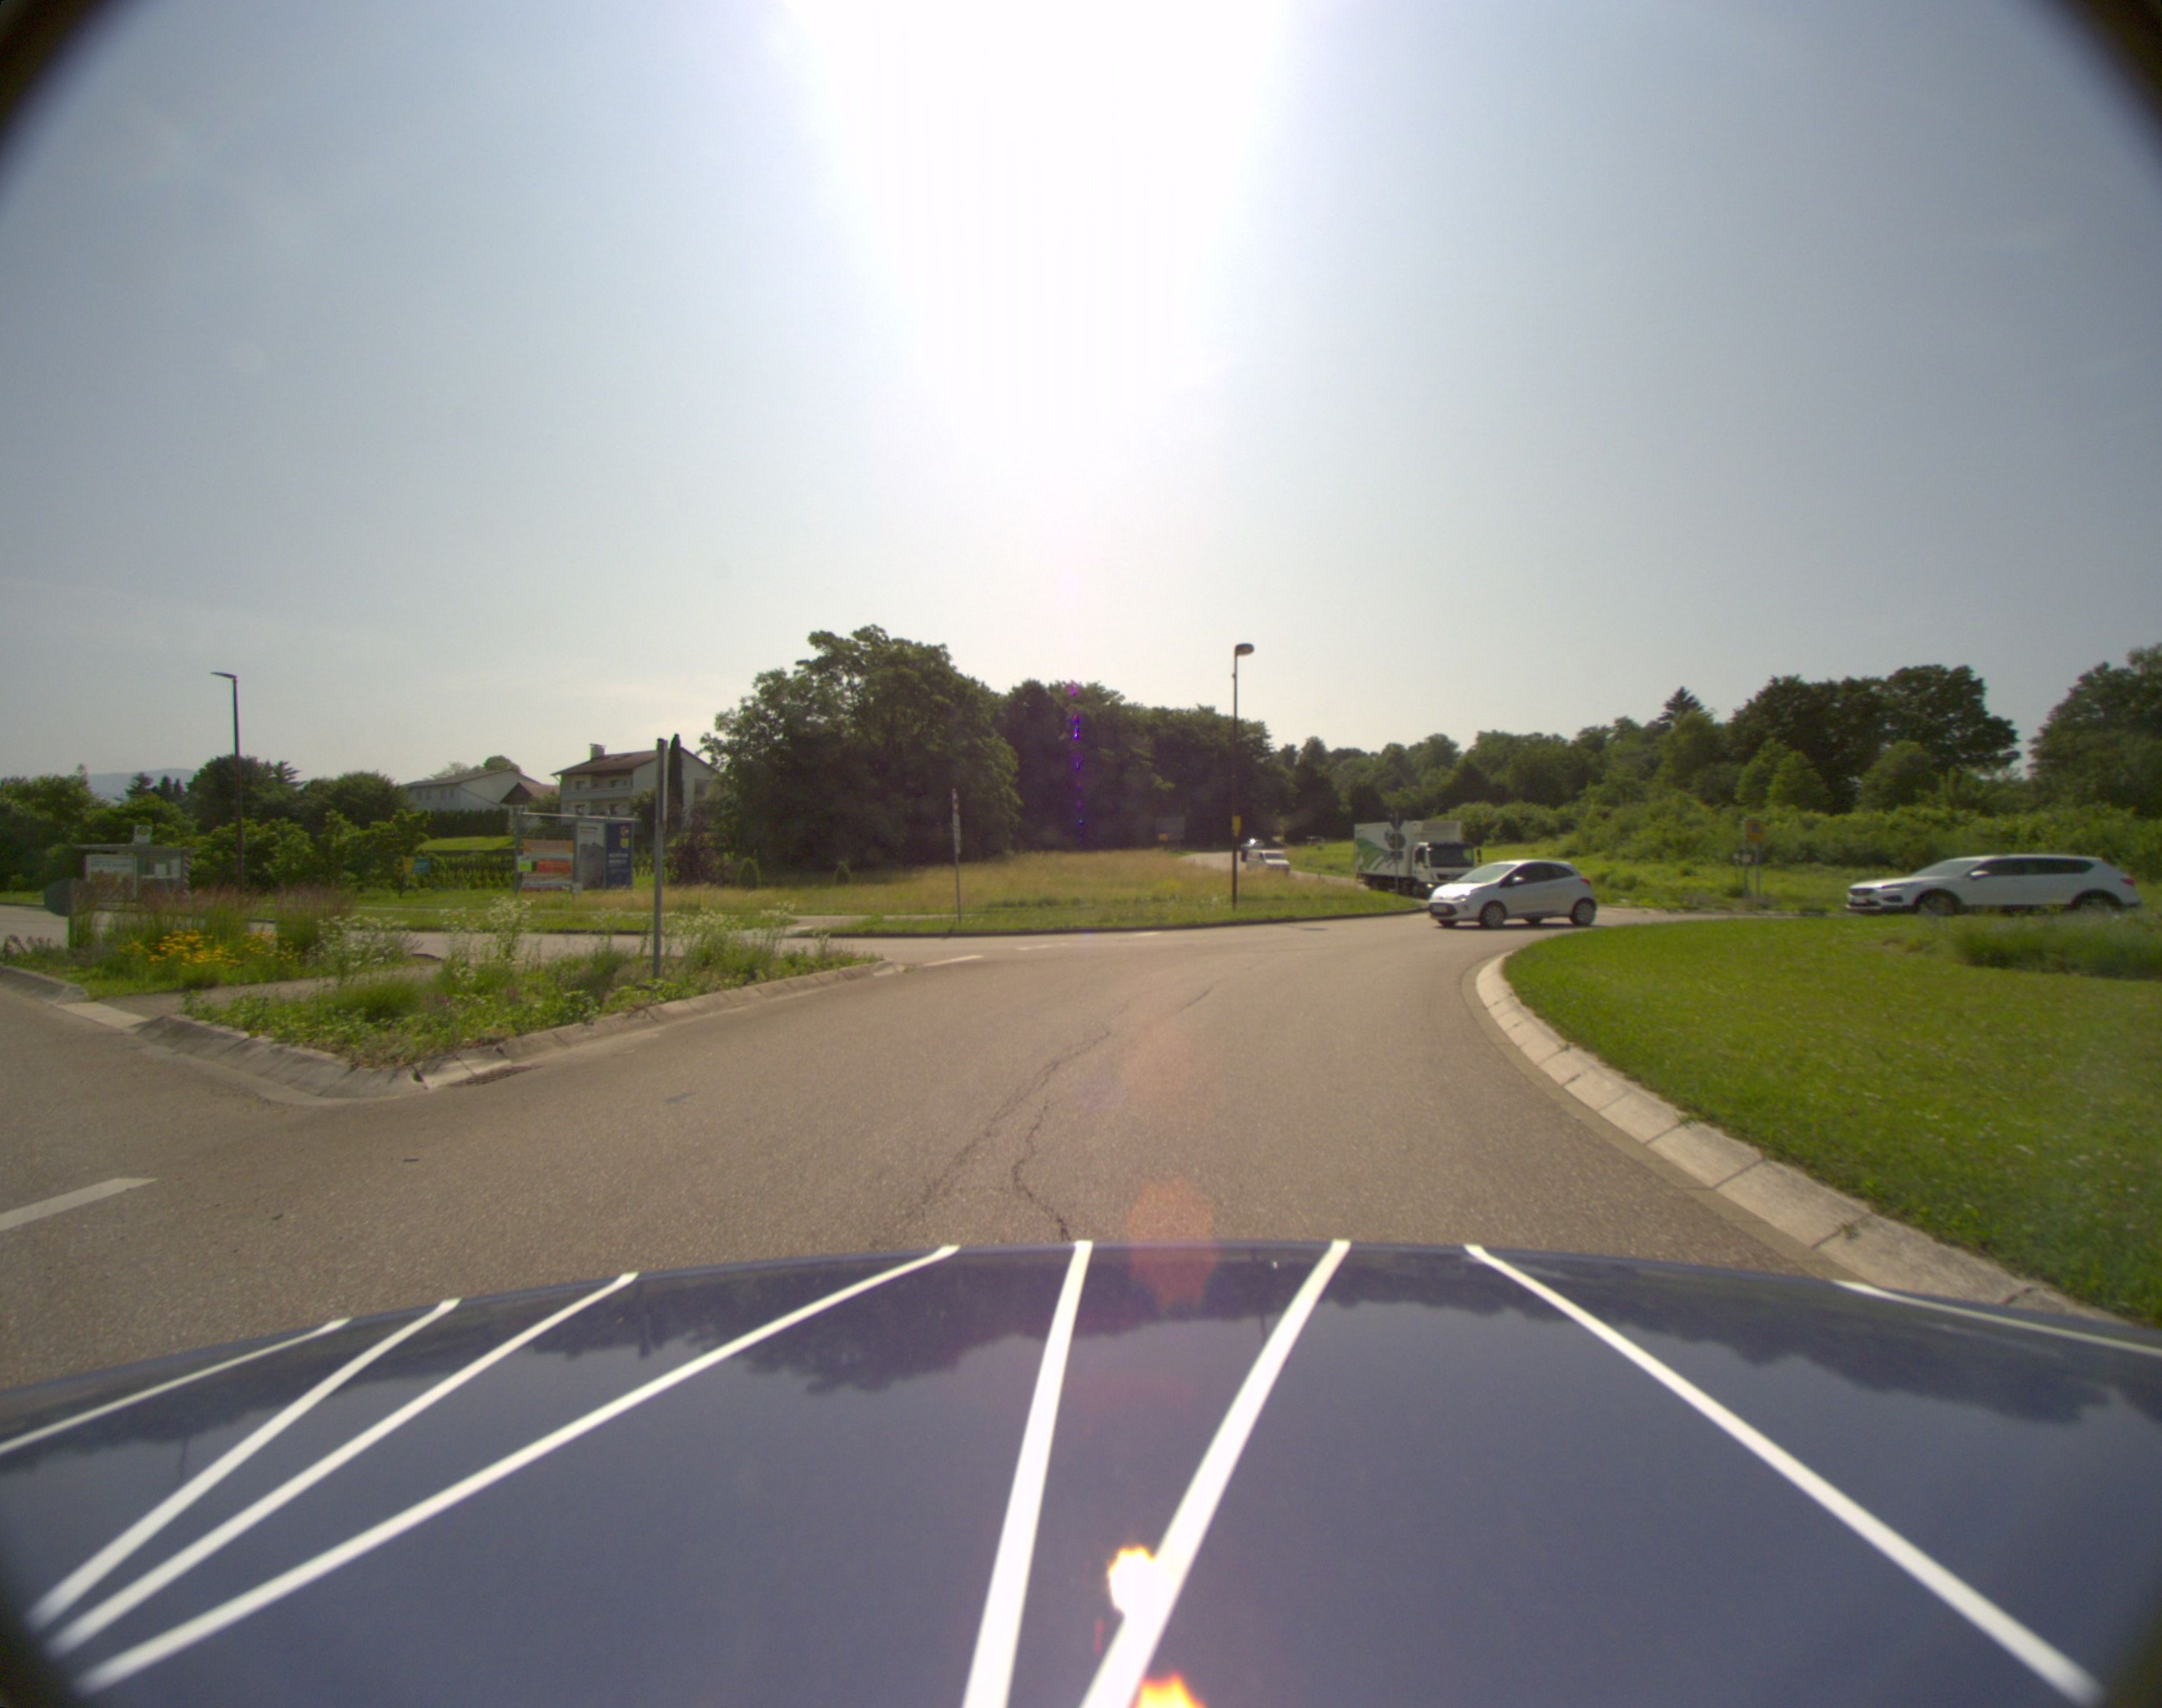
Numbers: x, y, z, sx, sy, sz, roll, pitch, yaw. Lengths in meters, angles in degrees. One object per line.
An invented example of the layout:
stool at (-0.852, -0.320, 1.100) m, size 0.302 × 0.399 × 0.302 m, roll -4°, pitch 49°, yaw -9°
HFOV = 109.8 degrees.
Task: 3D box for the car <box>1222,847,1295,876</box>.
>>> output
car at (13.442, 0.553, 57.798) m, size 2.003 × 2.002 × 5.589 m, roll -2°, pitch 1°, yaw -32°

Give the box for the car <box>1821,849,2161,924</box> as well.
car at (21.837, 0.773, 18.468) m, size 5.112 × 1.642 × 2.200 m, roll -2°, pitch 0°, yaw 14°

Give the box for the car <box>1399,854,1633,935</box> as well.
car at (9.810, 0.887, 17.318) m, size 4.200 × 1.606 × 2.128 m, roll -1°, pitch -2°, yaw -10°

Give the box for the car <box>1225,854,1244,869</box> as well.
car at (17.248, 0.877, 85.454) m, size 1.755 × 1.521 × 4.217 m, roll 2°, pitch -1°, yaw 8°

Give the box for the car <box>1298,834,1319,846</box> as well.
car at (32.680, -1.982, 109.076) m, size 1.907 × 1.586 × 4.383 m, roll 1°, pitch 0°, yaw 29°

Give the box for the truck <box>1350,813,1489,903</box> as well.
truck at (16.106, 0.131, 37.097) m, size 2.898 × 3.807 × 9.023 m, roll -1°, pitch 1°, yaw 1°

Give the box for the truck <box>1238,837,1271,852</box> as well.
truck at (24.027, -1.317, 105.095) m, size 2.356 × 2.002 × 5.451 m, roll -1°, pitch 1°, yaw 36°
